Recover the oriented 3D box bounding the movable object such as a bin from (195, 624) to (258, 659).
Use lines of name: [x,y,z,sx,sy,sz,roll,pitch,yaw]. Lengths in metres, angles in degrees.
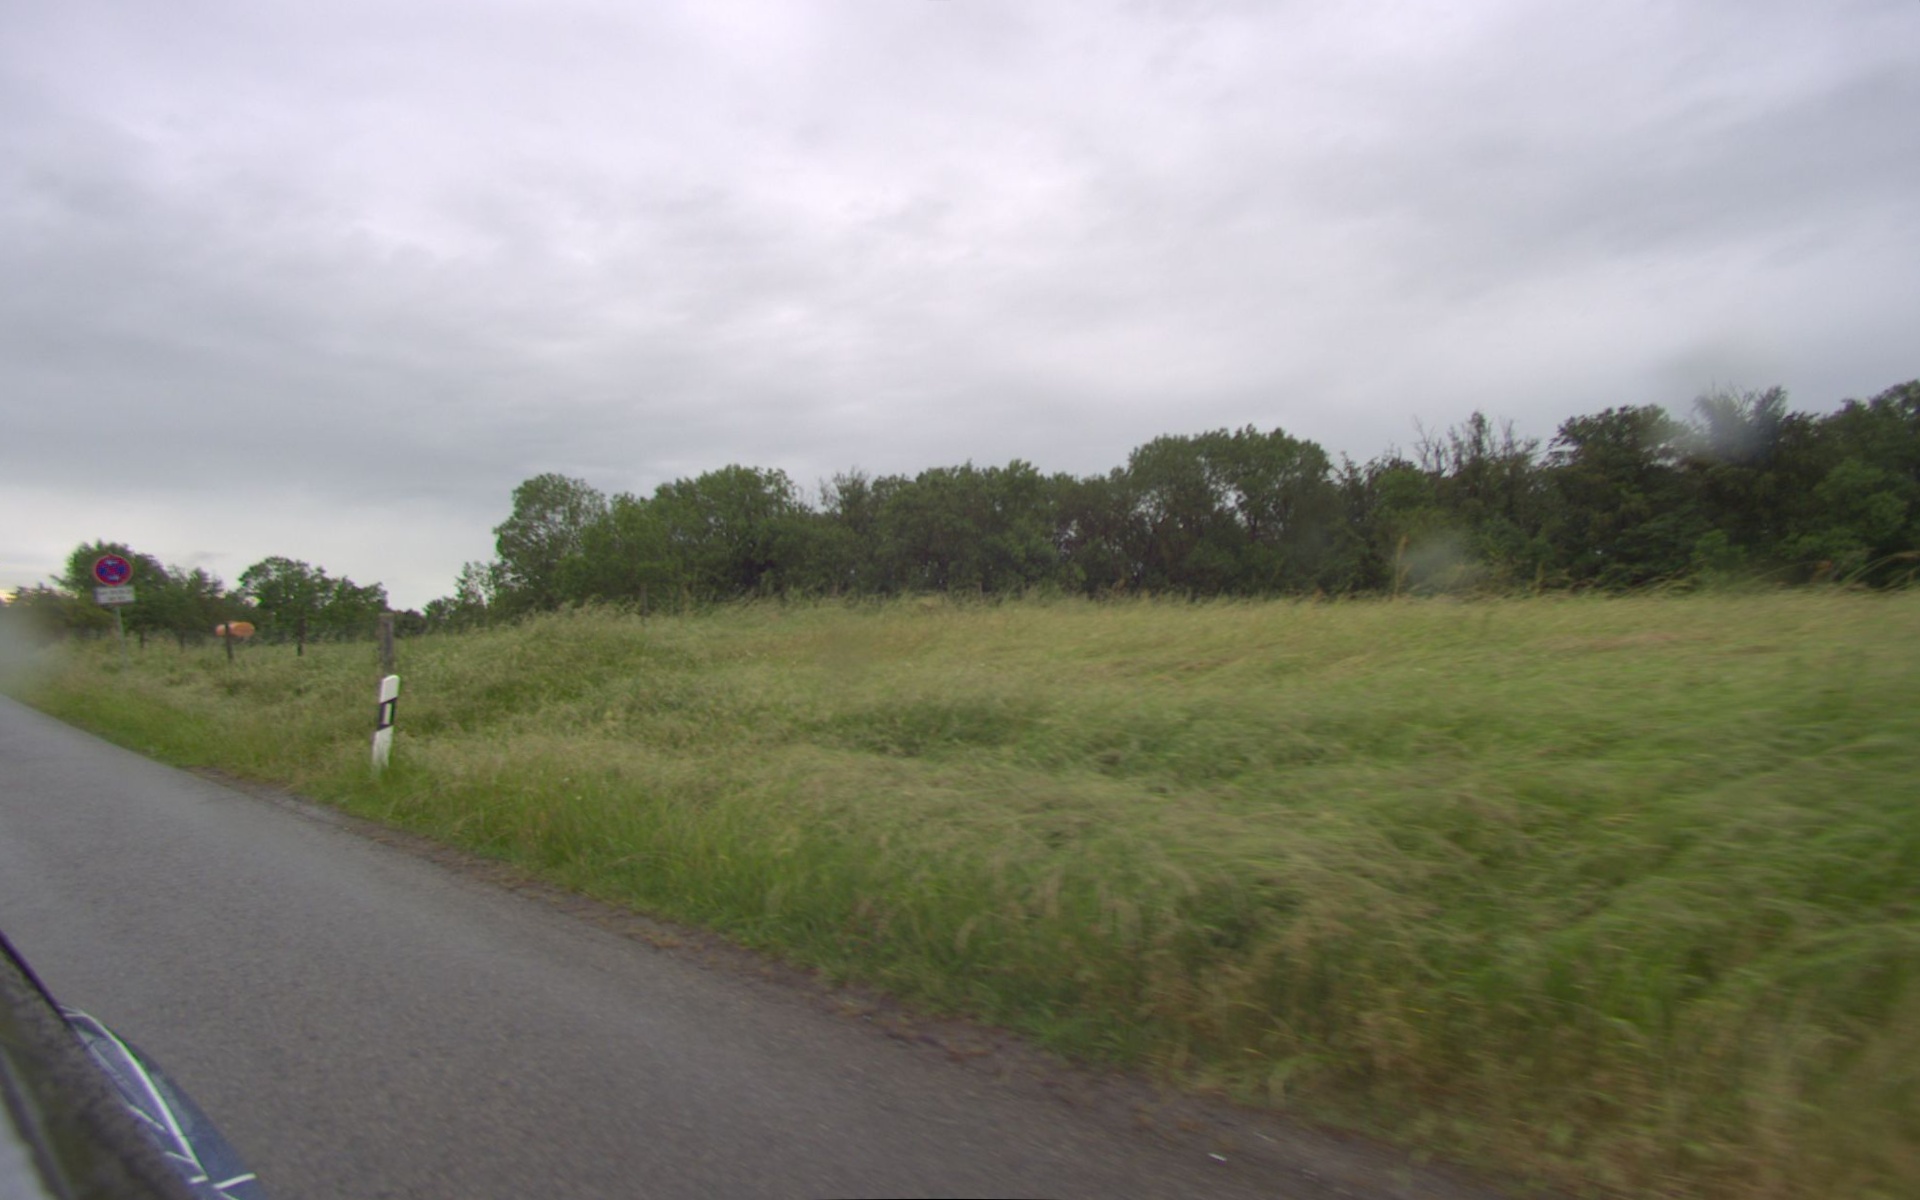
movable object such as a bin: [-34.839,1.949,48.044,3.536,1.583,1.662,-2,0,40]
